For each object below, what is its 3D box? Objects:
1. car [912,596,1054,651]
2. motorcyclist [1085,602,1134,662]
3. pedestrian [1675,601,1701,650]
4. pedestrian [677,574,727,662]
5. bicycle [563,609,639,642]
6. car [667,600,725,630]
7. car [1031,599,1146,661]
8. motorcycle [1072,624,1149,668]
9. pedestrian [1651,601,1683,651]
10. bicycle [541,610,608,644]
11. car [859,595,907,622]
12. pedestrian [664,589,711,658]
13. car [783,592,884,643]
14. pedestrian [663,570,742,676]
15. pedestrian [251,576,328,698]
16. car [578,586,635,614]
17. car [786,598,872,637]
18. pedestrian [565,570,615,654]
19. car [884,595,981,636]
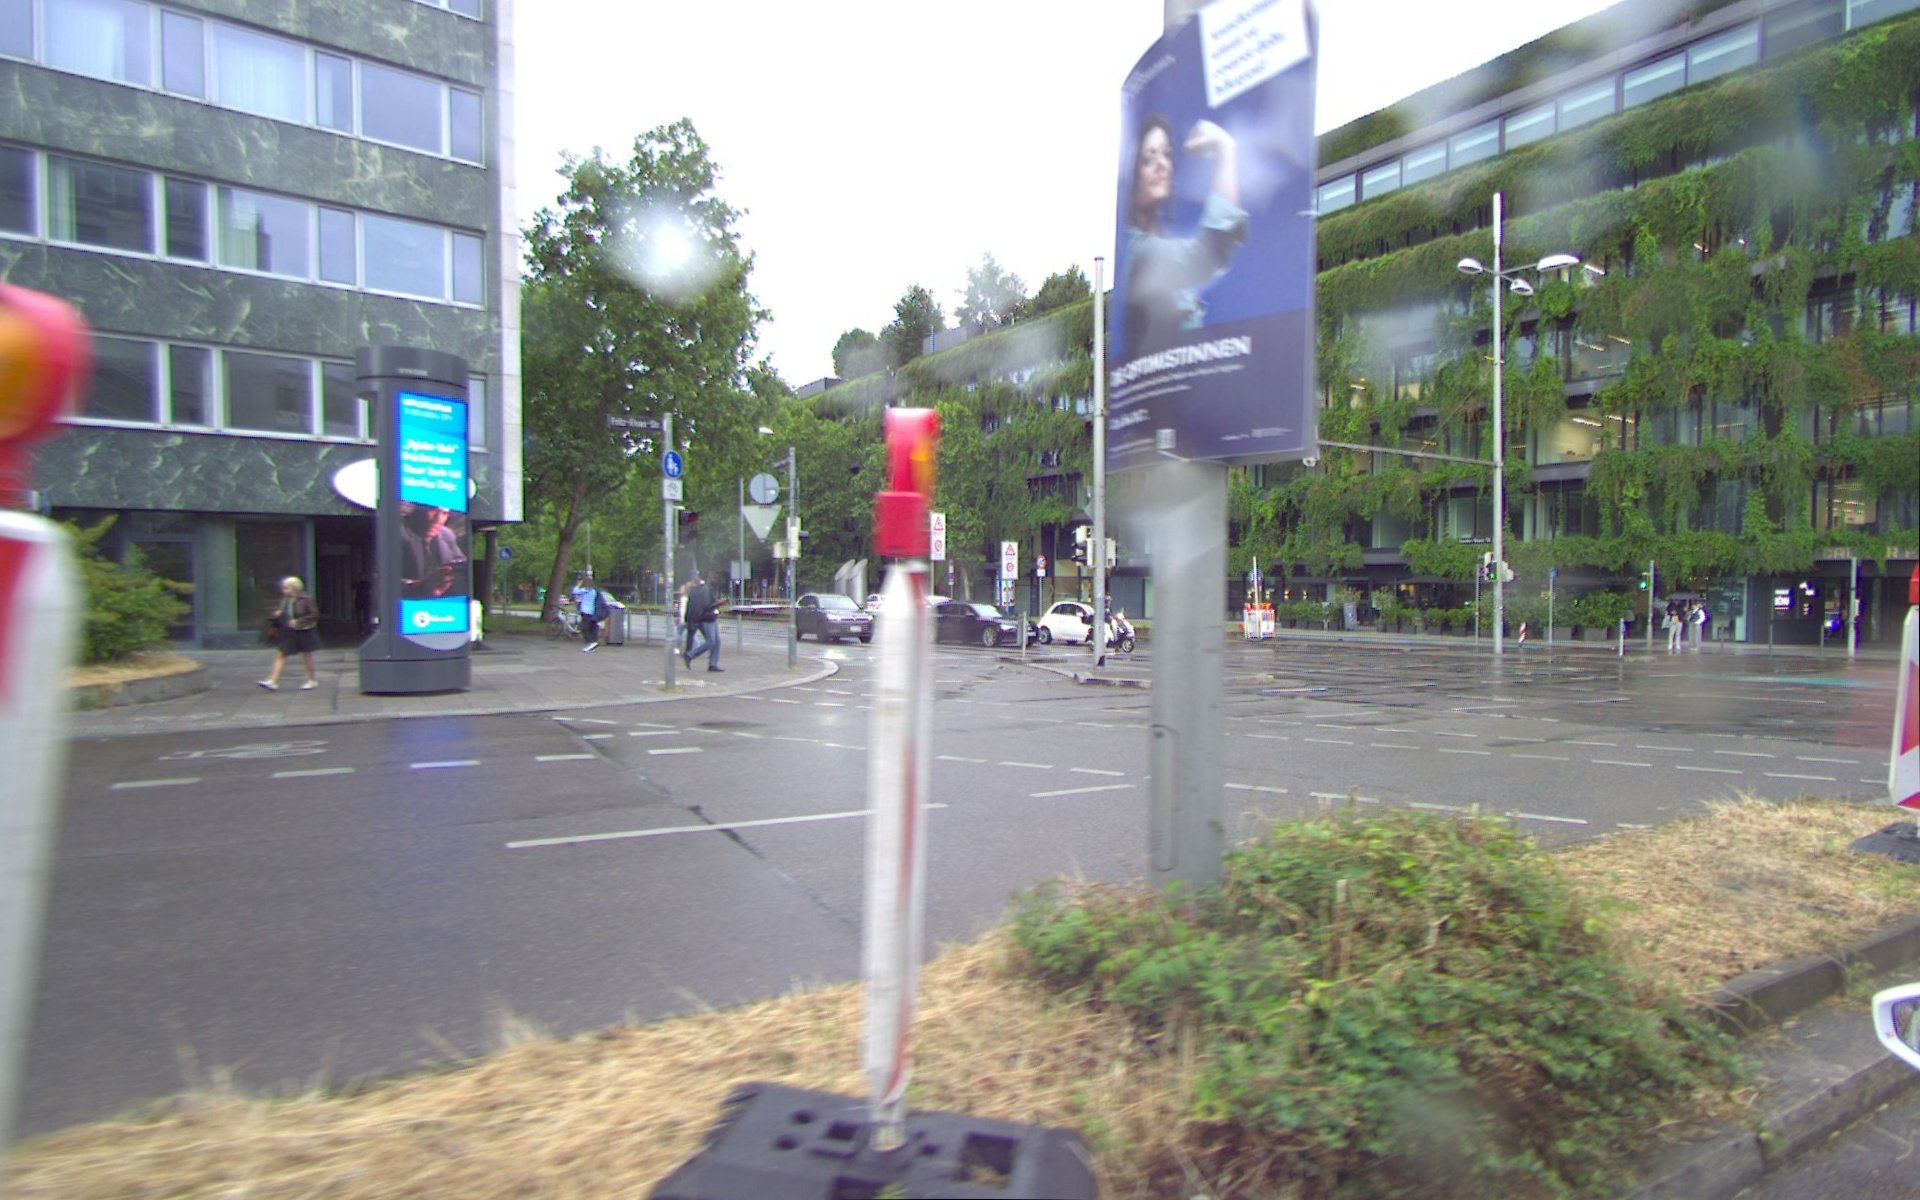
[{"bbox_3d":[0.692,0.737,33.511,1.957,1.674,4.755,1,0,-43],"label":"car"},{"bbox_3d":[4.451,0.944,29.883,1.173,1.725,0.843,1,0,44],"label":"motorcyclist"},{"bbox_3d":[26.595,0.923,36.705,0.731,1.781,0.972,1,0,37],"label":"pedestrian"},{"bbox_3d":[-5.801,0.418,22.563,0.887,1.909,0.781,0,-3,-30],"label":"pedestrian"},{"bbox_3d":[-10.698,0.755,29.994,2.170,0.968,0.423,1,-1,-43],"label":"bicycle"},{"bbox_3d":[-15.732,0.881,59.750,1.805,1.674,4.053,2,-1,-39],"label":"car"},{"bbox_3d":[4.332,0.983,34.077,1.985,1.948,3.417,1,0,-42],"label":"car"},{"bbox_3d":[4.457,1.342,29.873,2.204,1.227,0.843,1,0,44],"label":"motorcycle"},{"bbox_3d":[26.085,0.944,37.058,0.923,1.781,1.167,1,0,37],"label":"pedestrian"},{"bbox_3d":[-10.968,0.760,28.609,1.773,0.946,0.473,1,0,-21],"label":"bicycle"},{"bbox_3d":[-6.052,0.644,78.132,1.979,2.040,4.073,1,-1,-34],"label":"car"},{"bbox_3d":[-6.540,0.568,24.088,0.912,1.606,0.828,0,-4,-30],"label":"pedestrian"},{"bbox_3d":[-4.509,0.572,35.314,1.977,1.674,4.202,1,0,-31],"label":"car"},{"bbox_3d":[-4.772,0.412,18.642,1.225,1.911,0.685,1,2,-34],"label":"pedestrian"},{"bbox_3d":[-9.501,0.516,14.263,0.680,1.675,0.756,1,0,-14],"label":"pedestrian"},{"bbox_3d":[-22.318,0.000,63.381,1.986,1.674,4.050,3,-1,-42],"label":"car"},{"bbox_3d":[-6.101,0.795,46.564,1.986,1.674,4.050,3,-1,-42],"label":"car"},{"bbox_3d":[-8.573,0.303,23.278,0.868,1.878,1.015,1,-4,-34],"label":"pedestrian"},{"bbox_3d":[-1.160,0.585,40.510,1.858,1.543,3.855,1,0,-42],"label":"car"}]
